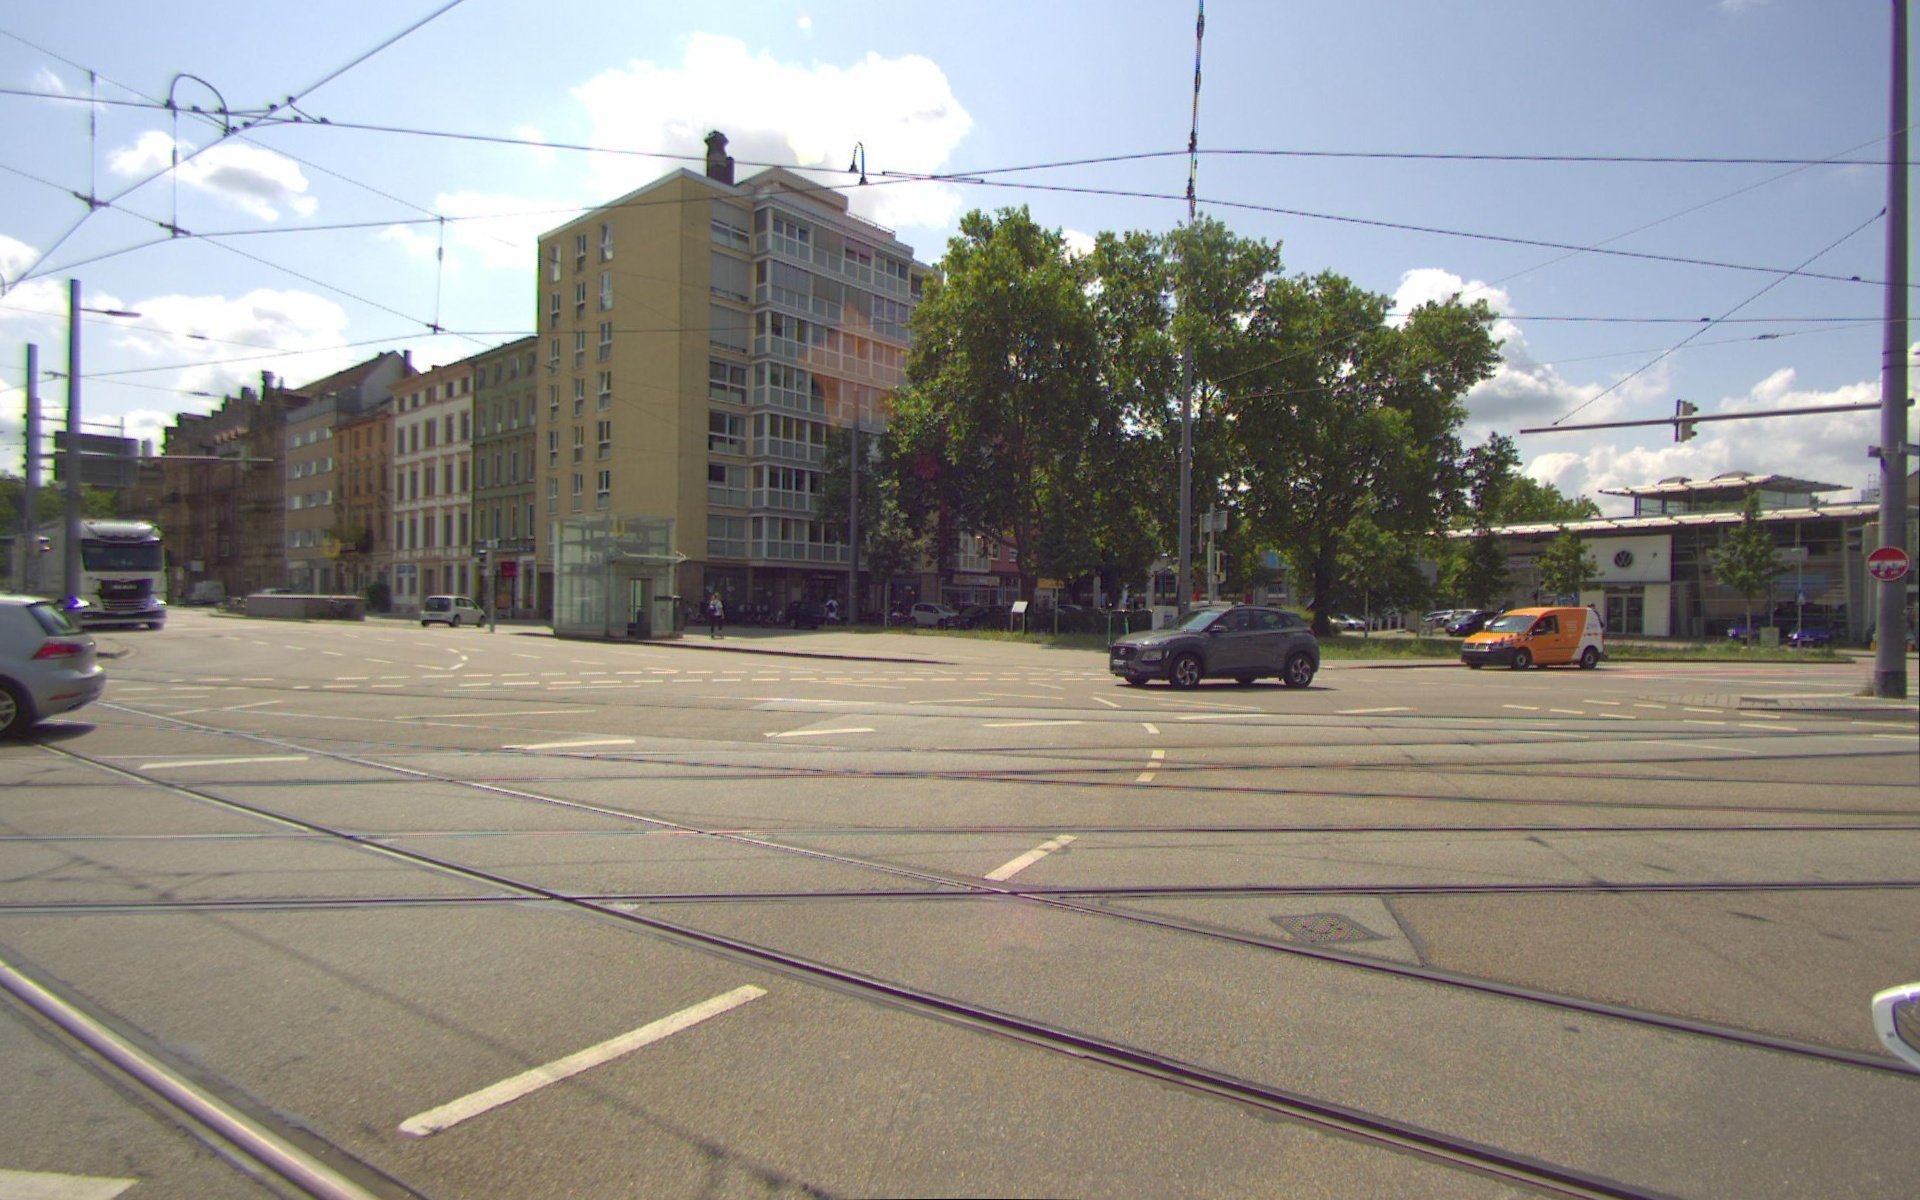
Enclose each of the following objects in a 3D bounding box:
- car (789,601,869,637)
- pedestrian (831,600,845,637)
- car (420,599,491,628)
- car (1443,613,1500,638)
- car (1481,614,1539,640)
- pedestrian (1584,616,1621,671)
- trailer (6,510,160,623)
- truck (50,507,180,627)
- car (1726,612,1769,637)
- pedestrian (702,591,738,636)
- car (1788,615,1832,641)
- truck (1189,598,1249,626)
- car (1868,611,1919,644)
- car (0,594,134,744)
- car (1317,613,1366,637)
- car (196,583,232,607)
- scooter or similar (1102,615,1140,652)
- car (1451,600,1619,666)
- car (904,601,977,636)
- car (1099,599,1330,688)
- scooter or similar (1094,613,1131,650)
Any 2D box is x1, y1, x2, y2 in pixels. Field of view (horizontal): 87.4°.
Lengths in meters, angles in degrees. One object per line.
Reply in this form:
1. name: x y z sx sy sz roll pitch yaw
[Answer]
1. car: -6.820 0.977 52.080 4.057 1.687 1.859 3 0 42
2. pedestrian: -5.781 0.883 47.643 0.538 1.745 0.370 2 0 8
3. car: -24.202 0.643 48.295 1.625 1.339 3.357 1 0 2
4. car: 36.687 1.820 71.972 4.139 1.595 1.979 3 0 -36
5. car: 38.222 1.885 69.755 4.139 1.595 1.979 3 0 -36
6. pedestrian: 21.890 1.479 34.222 0.753 1.824 0.759 1 0 -21
7. trailer: -36.551 -1.426 41.566 13.832 4.022 2.695 3 0 40
8. truck: -31.080 -1.184 36.907 5.368 4.022 2.695 3 0 40
9. car: 44.774 1.408 57.098 1.630 1.267 3.978 3 0 42
10. pedestrian: -9.075 0.522 38.036 0.847 1.654 1.026 3 0 20
11. car: 45.977 1.502 54.297 1.630 1.267 3.978 3 0 42
12. truck: 20.651 0.990 80.057 4.721 2.149 1.796 1 0 -29
13. car: 49.386 1.480 52.568 3.963 1.595 1.979 3 0 -36
14. car: -10.800 0.645 9.679 4.228 1.453 1.642 1 0 -35
15. car: 36.913 2.407 97.351 1.974 2.040 4.223 3 0 -26
16. car: -77.744 -0.520 104.666 4.057 2.374 1.992 3 0 39
17. scooter or similar: 5.086 1.059 31.798 1.077 1.130 0.378 3 0 -15
18. car: 16.852 0.960 29.418 4.669 1.824 1.715 1 -1 -21
19. car: -1.207 1.086 60.357 4.051 1.883 1.974 3 0 41
20. car: 4.846 0.803 19.133 4.062 1.552 1.714 1 0 -23
21. scooter or similar: 4.949 1.027 32.510 1.077 1.130 0.378 3 0 -15
